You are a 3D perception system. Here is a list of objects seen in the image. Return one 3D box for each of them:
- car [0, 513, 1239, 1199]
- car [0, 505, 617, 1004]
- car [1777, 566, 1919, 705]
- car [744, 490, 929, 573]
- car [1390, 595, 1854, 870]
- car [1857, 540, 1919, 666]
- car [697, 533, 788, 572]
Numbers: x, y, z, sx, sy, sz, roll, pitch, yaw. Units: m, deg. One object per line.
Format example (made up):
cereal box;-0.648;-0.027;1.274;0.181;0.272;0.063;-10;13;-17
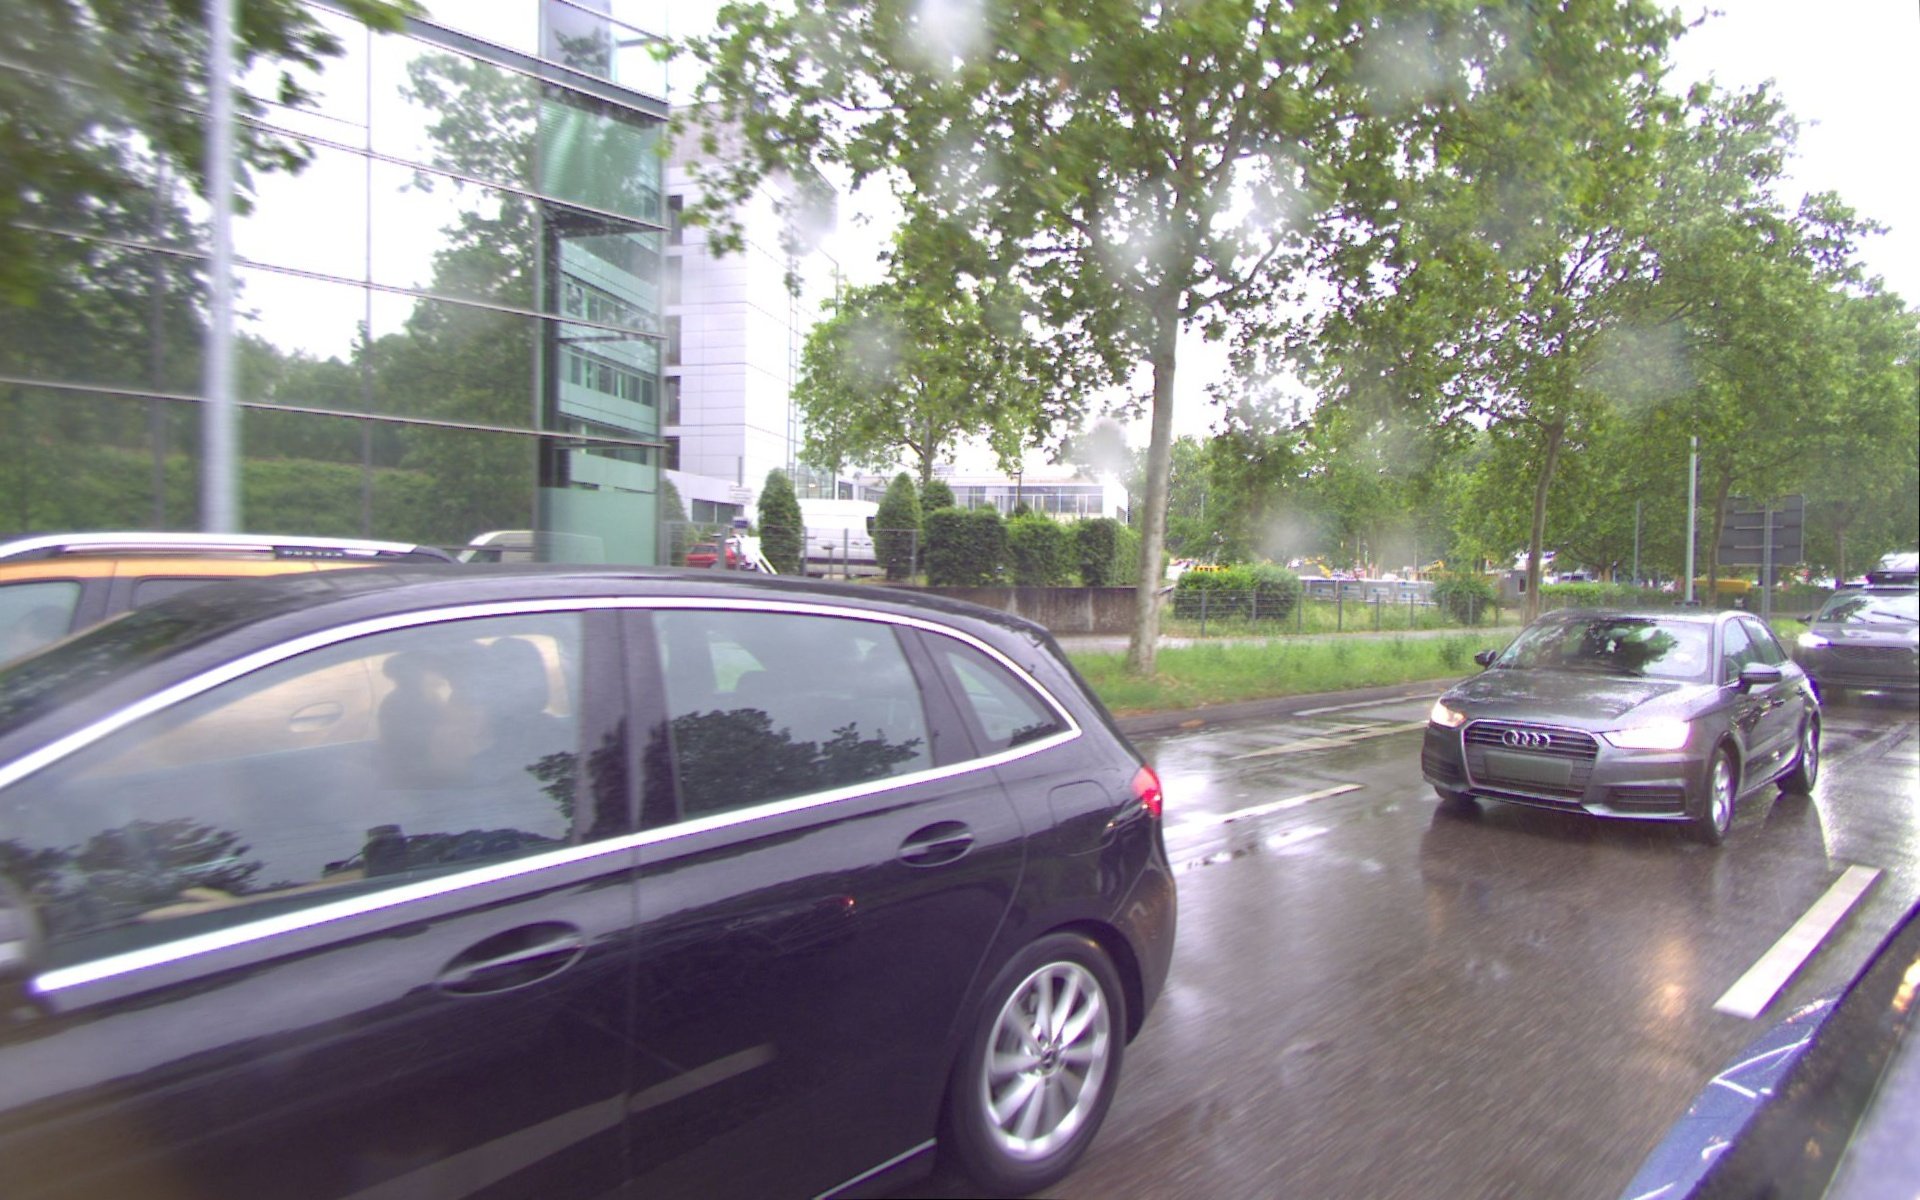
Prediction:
car;-1.314;0.630;2.260;4.017;1.542;1.873;-1;2;-42
car;-3.757;0.488;4.103;4.095;1.652;1.904;-1;2;-39
car;13.685;0.436;14.754;4.252;1.769;1.998;0;2;-41
car;-3.940;-2.146;32.584;5.611;2.487;1.992;0;0;13
car;4.857;0.690;7.249;3.688;1.415;1.839;0;1;-41
car;20.772;0.042;21.401;4.891;2.460;1.998;0;2;-41
car;-10.641;-2.288;49.625;3.950;1.794;1.987;0;1;20
